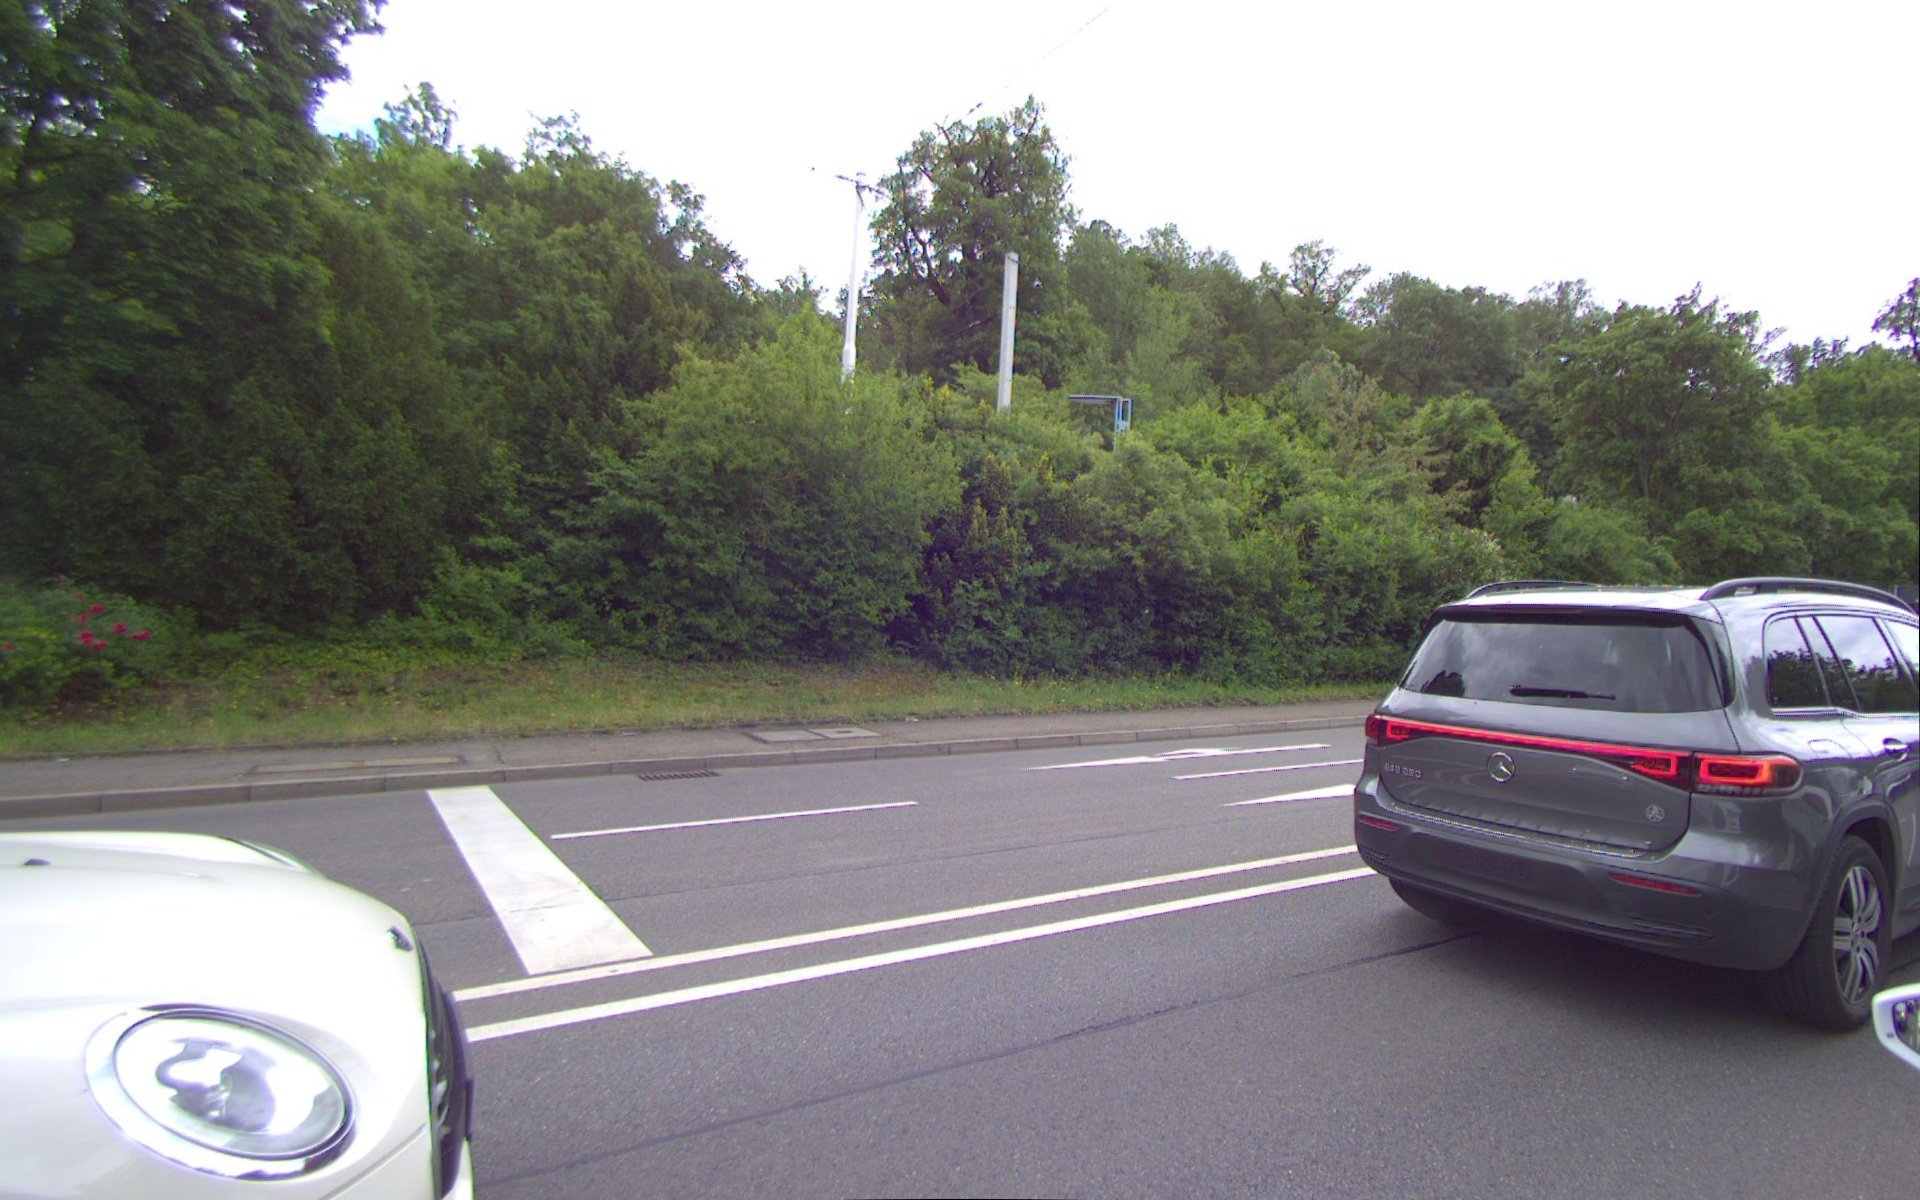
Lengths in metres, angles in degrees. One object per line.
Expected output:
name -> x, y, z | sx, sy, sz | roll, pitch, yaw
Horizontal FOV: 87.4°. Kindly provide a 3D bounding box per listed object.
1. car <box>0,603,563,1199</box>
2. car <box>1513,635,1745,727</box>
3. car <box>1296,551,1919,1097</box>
car -> -2.569, 0.706, 1.158 | 3.691, 1.443, 1.675 | 1, -1, -32
car -> 11.643, 1.334, 17.411 | 4.310, 1.414, 1.671 | 2, -2, -31
car -> 3.868, 0.736, 5.013 | 4.309, 1.673, 1.839 | 1, -1, -32
